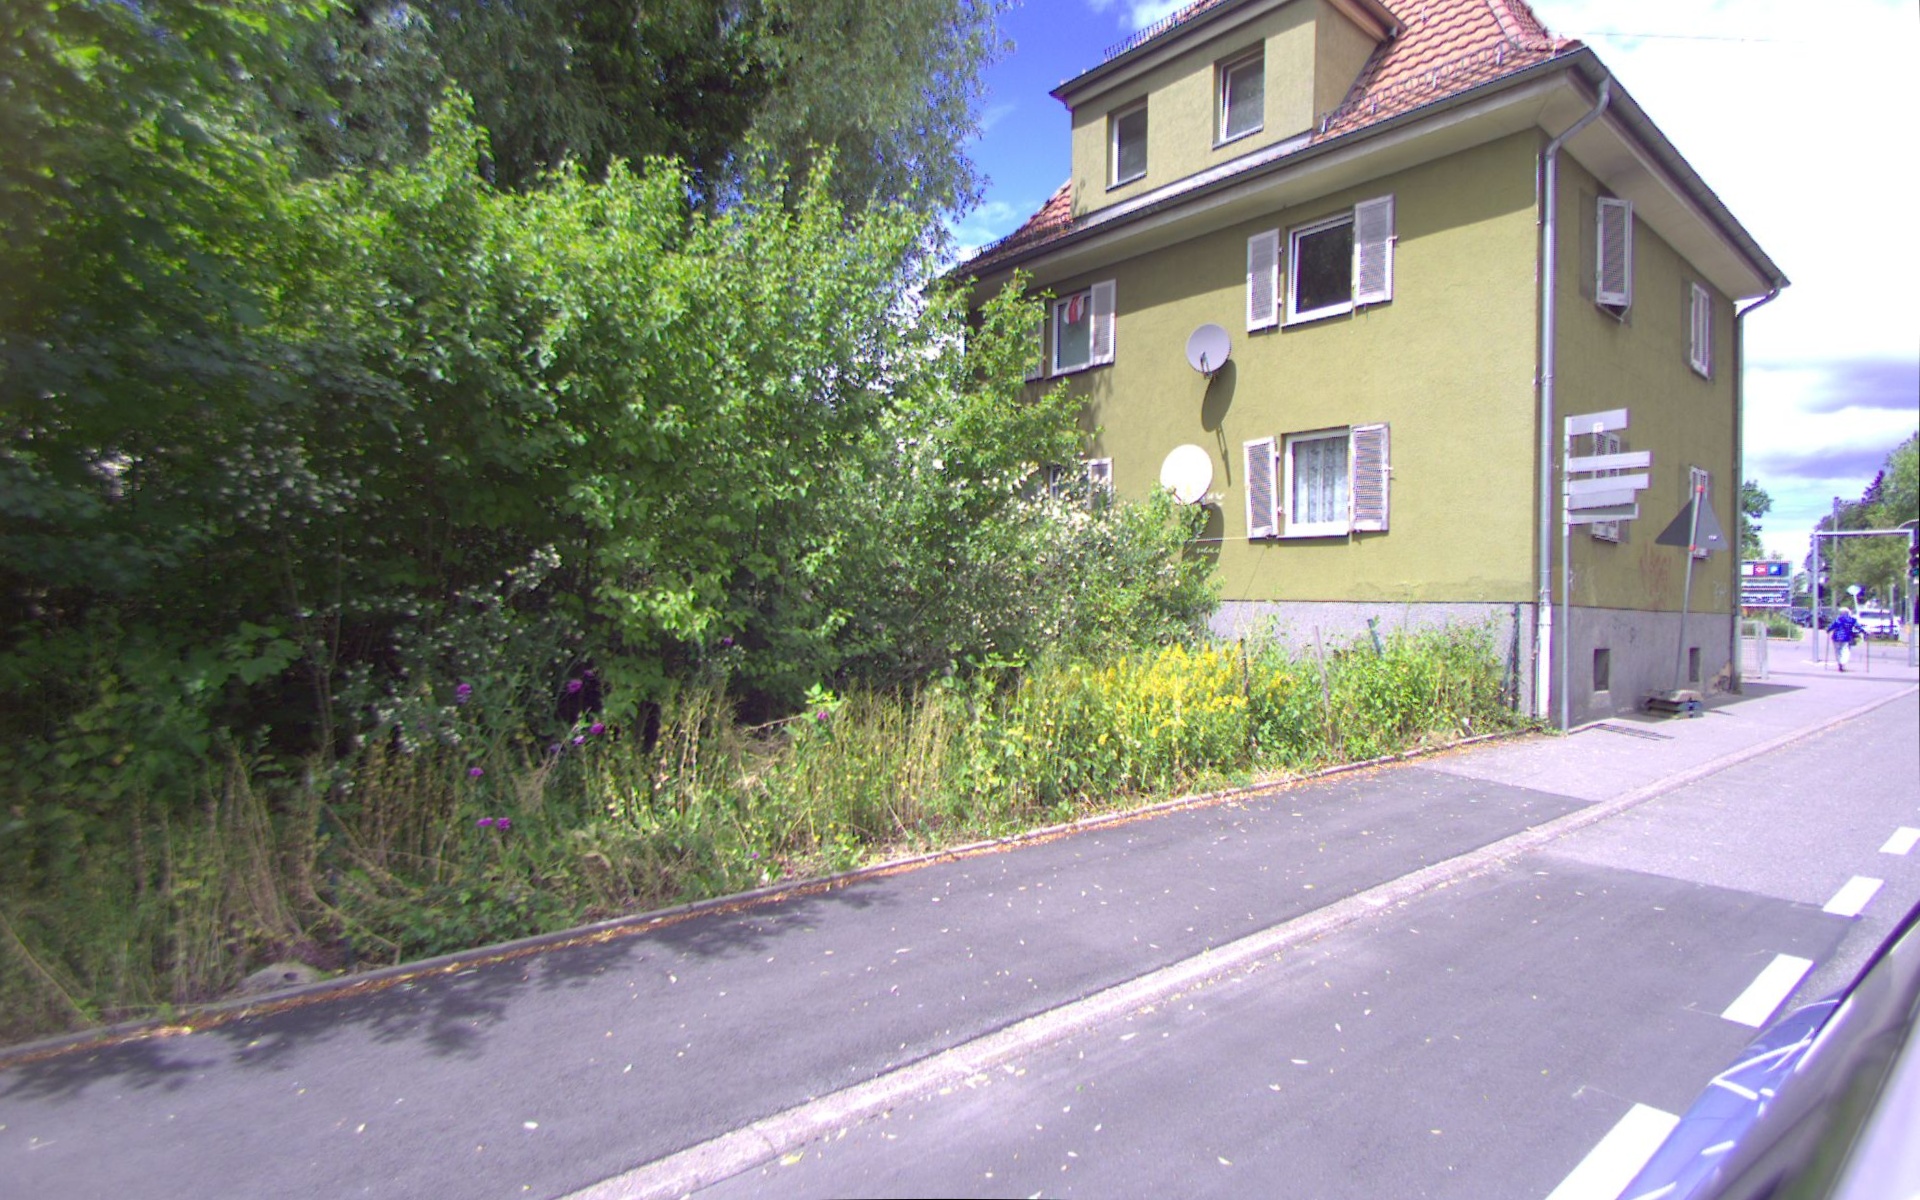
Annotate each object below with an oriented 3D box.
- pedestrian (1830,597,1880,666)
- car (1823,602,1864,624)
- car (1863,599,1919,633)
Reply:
[{"bbox_3d":[21.507,0.729,24.308,0.824,1.592,0.972,2,1,45],"label":"pedestrian"},{"bbox_3d":[63.659,0.924,72.954,1.694,1.551,3.951,-1,-1,34],"label":"car"},{"bbox_3d":[46.433,0.772,50.550,1.788,1.549,3.864,4,2,40],"label":"car"}]
